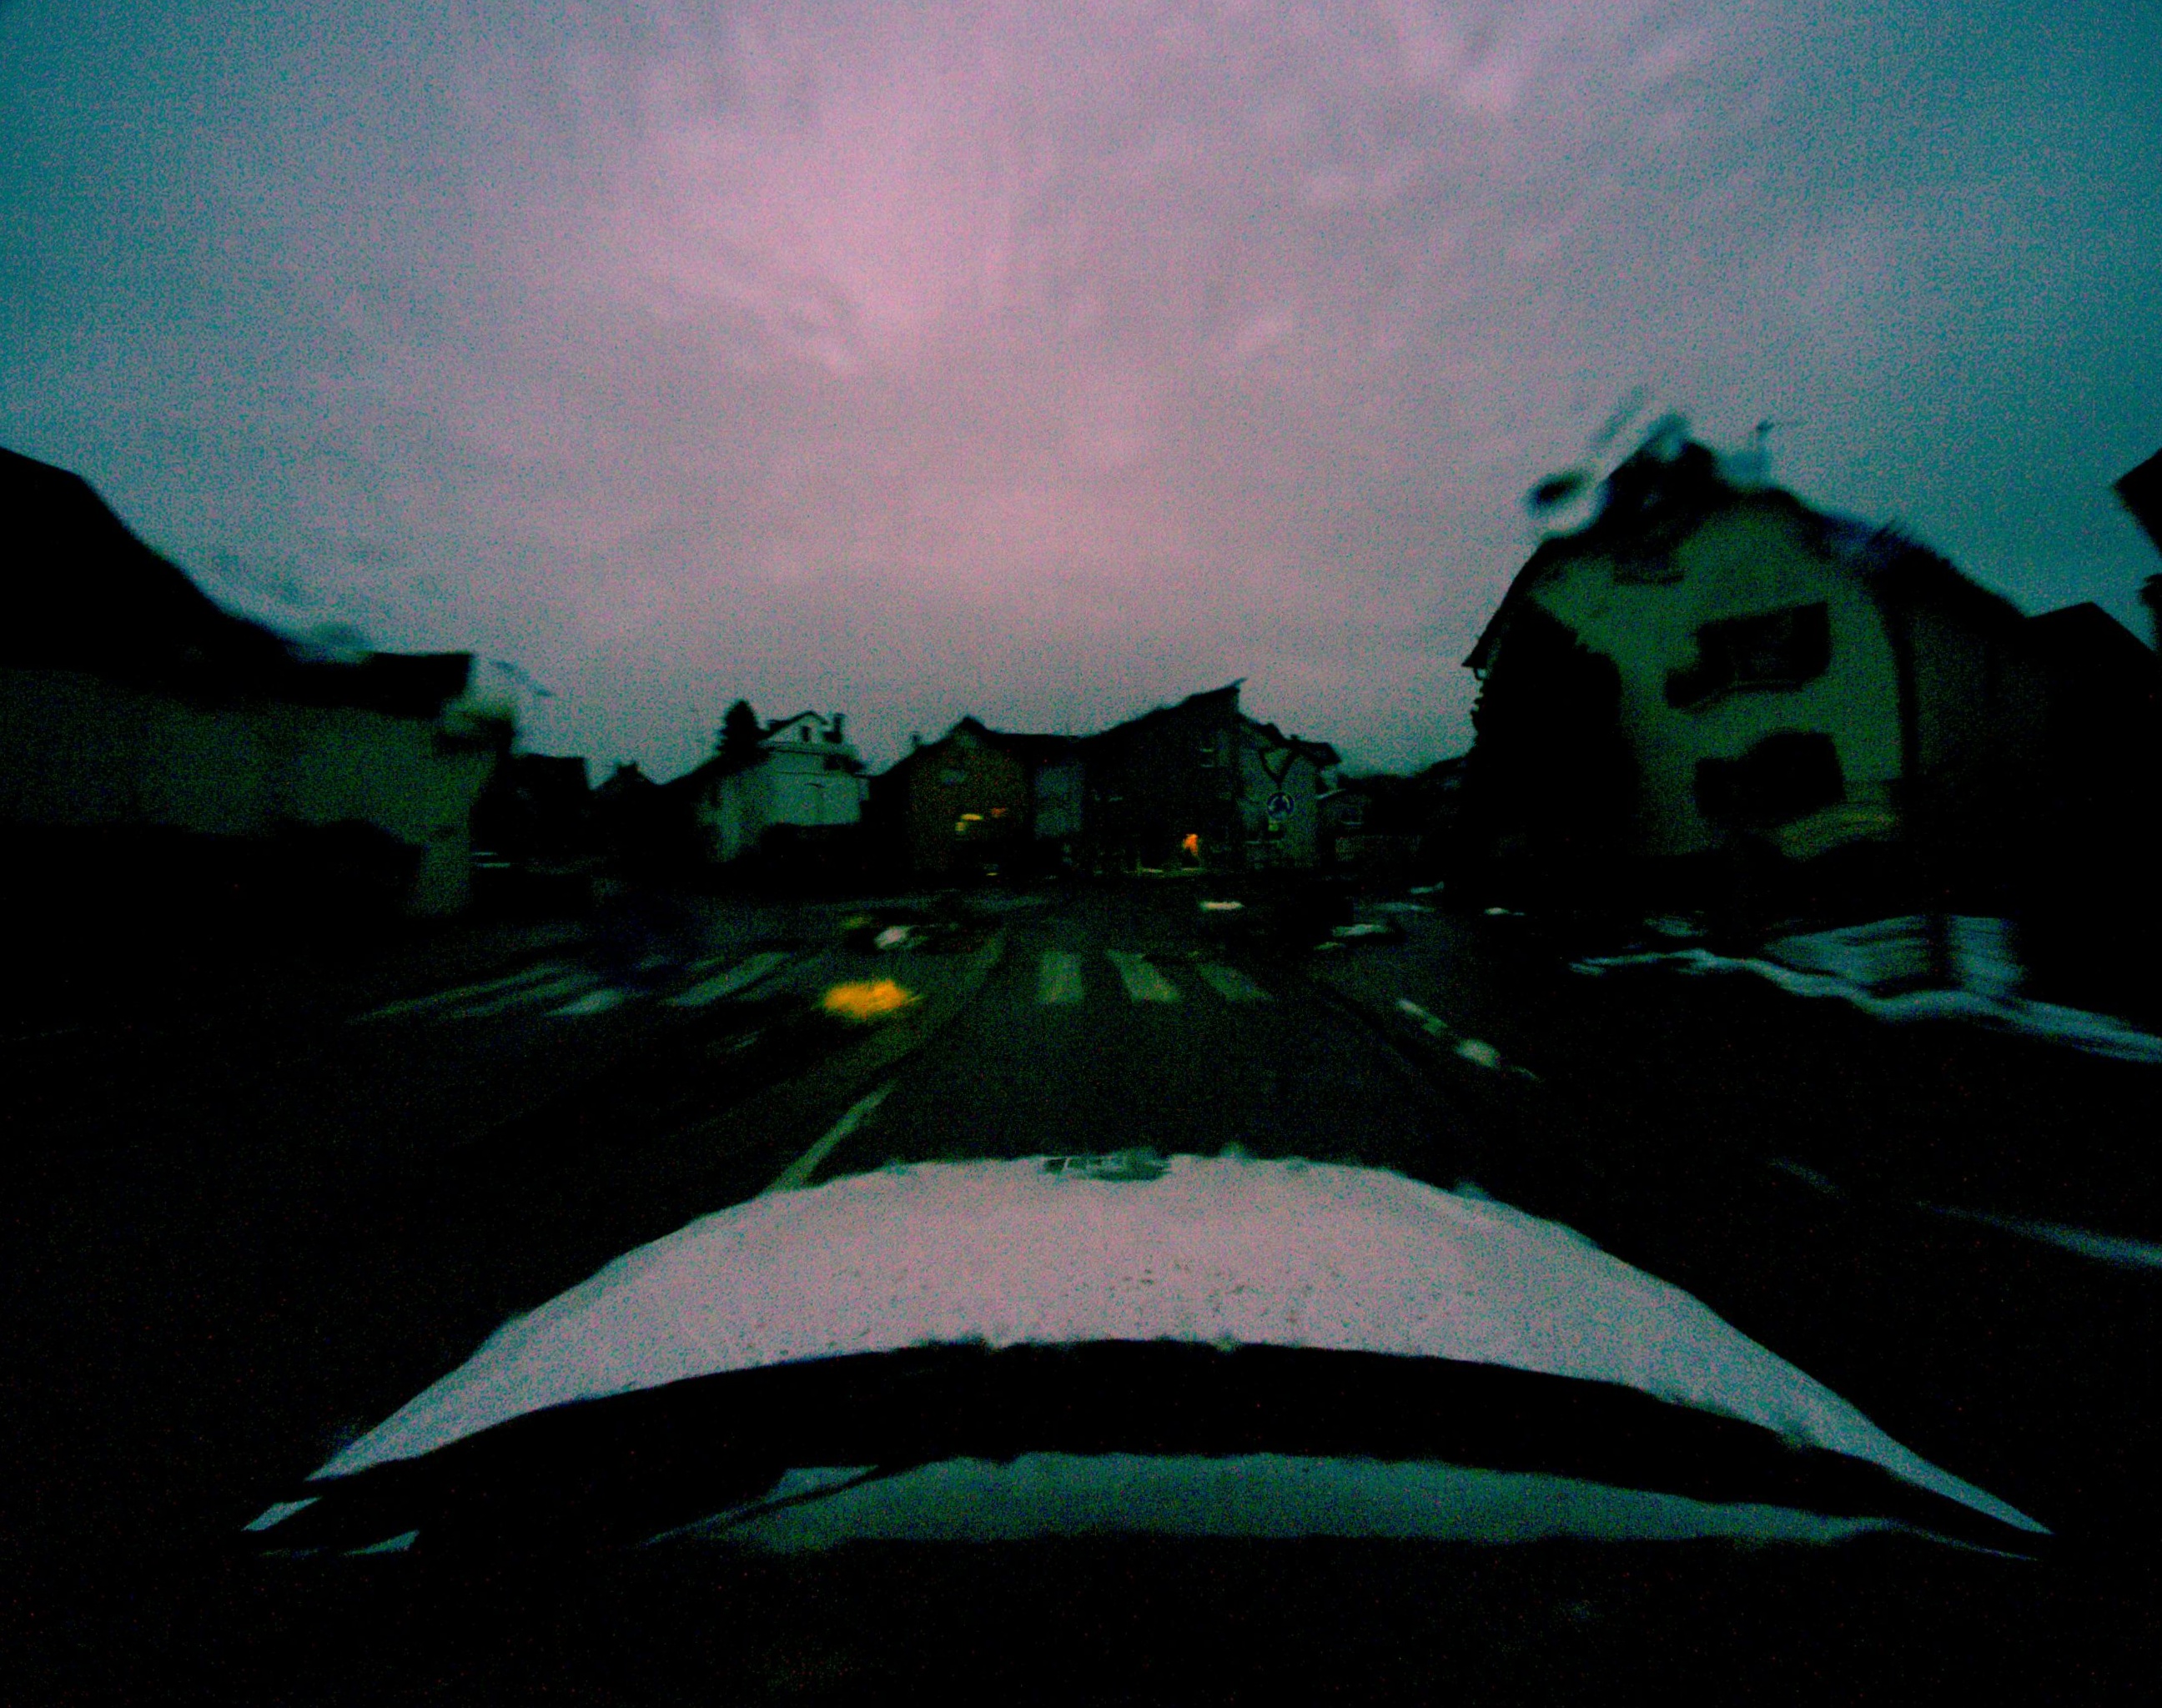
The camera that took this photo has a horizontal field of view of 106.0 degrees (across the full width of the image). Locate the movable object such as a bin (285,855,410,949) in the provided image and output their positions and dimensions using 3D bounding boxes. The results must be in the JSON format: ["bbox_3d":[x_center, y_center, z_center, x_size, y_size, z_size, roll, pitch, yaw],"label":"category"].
[{"bbox_3d":[-12.950,0.809,14.448,1.096,1.543,1.284,-1,0,-11],"label":"movable object such as a bin"}]

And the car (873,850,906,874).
[{"bbox_3d":[-13.987,0.577,59.276,1.999,1.644,3.975,-1,1,-19],"label":"car"}]

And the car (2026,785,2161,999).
[{"bbox_3d":[9.878,0.203,5.400,1.823,1.628,4.502,-4,1,-34],"label":"car"}]

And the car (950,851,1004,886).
[{"bbox_3d":[-5.322,0.692,41.220,1.999,1.644,3.975,-1,1,-19],"label":"car"}]

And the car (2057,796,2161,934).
[{"bbox_3d":[13.914,0.055,8.909,1.823,1.566,3.957,-4,1,-34],"label":"car"}]
